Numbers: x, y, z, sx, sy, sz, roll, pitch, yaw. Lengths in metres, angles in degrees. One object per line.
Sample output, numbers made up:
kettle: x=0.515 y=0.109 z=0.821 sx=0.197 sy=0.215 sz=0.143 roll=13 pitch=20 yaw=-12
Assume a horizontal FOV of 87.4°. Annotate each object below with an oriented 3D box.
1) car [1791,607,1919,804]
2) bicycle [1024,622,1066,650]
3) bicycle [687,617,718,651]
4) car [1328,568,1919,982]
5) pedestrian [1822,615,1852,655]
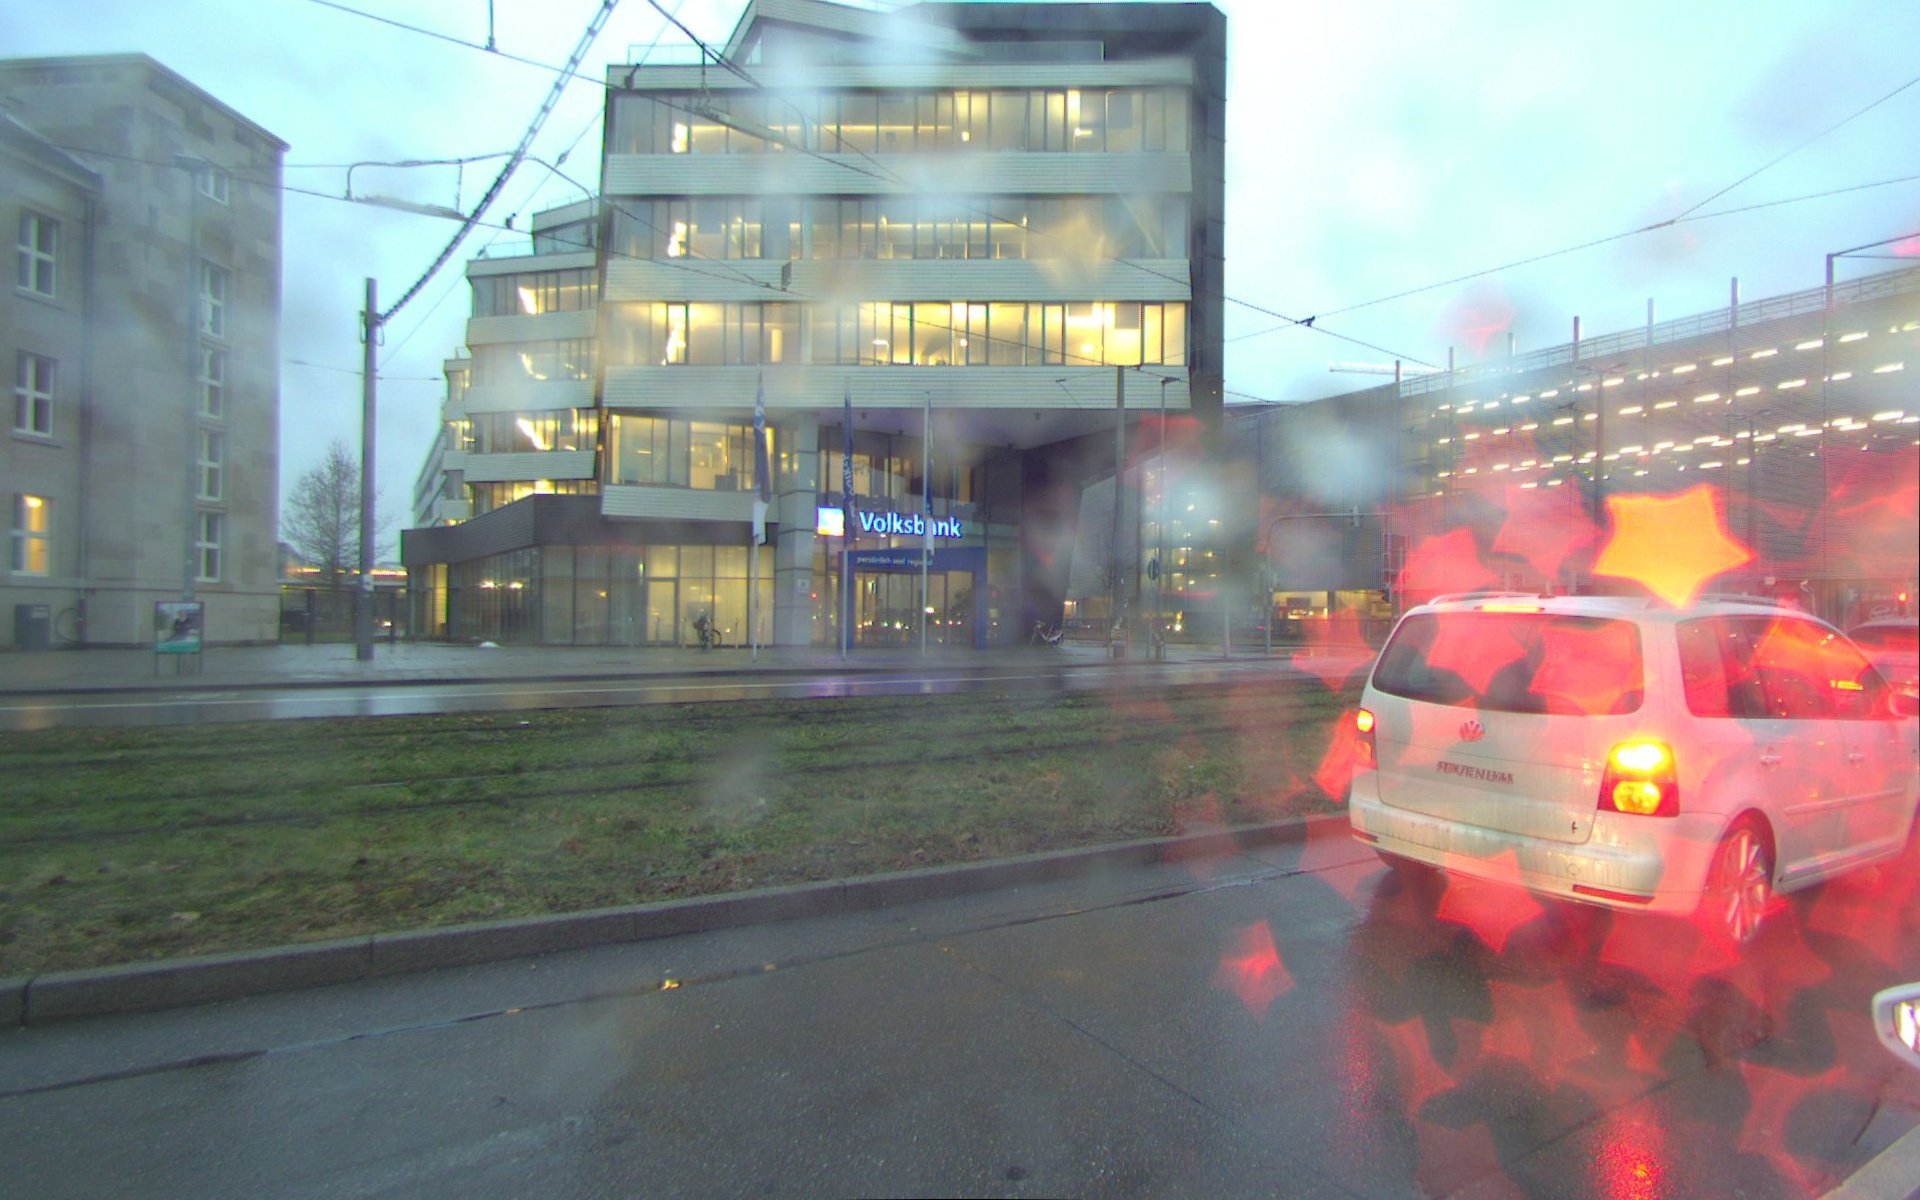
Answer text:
car: x=9.549 y=0.892 z=9.351 sx=4.320 sy=1.591 sz=1.808 roll=1 pitch=-1 yaw=-36
bicycle: x=3.396 y=1.421 z=40.111 sx=1.582 sy=1.084 sz=0.637 roll=0 pitch=-1 yaw=-31
bicycle: x=-8.723 y=1.139 z=34.059 sx=0.518 sy=1.142 sz=1.498 roll=0 pitch=-1 yaw=6
car: x=4.145 y=0.732 z=5.790 sx=4.177 sy=1.620 sz=1.661 roll=1 pitch=-1 yaw=-33
pedestrian: x=55.057 y=2.209 z=63.072 sx=0.955 sy=2.471 sz=1.105 roll=2 pitch=0 yaw=-30
